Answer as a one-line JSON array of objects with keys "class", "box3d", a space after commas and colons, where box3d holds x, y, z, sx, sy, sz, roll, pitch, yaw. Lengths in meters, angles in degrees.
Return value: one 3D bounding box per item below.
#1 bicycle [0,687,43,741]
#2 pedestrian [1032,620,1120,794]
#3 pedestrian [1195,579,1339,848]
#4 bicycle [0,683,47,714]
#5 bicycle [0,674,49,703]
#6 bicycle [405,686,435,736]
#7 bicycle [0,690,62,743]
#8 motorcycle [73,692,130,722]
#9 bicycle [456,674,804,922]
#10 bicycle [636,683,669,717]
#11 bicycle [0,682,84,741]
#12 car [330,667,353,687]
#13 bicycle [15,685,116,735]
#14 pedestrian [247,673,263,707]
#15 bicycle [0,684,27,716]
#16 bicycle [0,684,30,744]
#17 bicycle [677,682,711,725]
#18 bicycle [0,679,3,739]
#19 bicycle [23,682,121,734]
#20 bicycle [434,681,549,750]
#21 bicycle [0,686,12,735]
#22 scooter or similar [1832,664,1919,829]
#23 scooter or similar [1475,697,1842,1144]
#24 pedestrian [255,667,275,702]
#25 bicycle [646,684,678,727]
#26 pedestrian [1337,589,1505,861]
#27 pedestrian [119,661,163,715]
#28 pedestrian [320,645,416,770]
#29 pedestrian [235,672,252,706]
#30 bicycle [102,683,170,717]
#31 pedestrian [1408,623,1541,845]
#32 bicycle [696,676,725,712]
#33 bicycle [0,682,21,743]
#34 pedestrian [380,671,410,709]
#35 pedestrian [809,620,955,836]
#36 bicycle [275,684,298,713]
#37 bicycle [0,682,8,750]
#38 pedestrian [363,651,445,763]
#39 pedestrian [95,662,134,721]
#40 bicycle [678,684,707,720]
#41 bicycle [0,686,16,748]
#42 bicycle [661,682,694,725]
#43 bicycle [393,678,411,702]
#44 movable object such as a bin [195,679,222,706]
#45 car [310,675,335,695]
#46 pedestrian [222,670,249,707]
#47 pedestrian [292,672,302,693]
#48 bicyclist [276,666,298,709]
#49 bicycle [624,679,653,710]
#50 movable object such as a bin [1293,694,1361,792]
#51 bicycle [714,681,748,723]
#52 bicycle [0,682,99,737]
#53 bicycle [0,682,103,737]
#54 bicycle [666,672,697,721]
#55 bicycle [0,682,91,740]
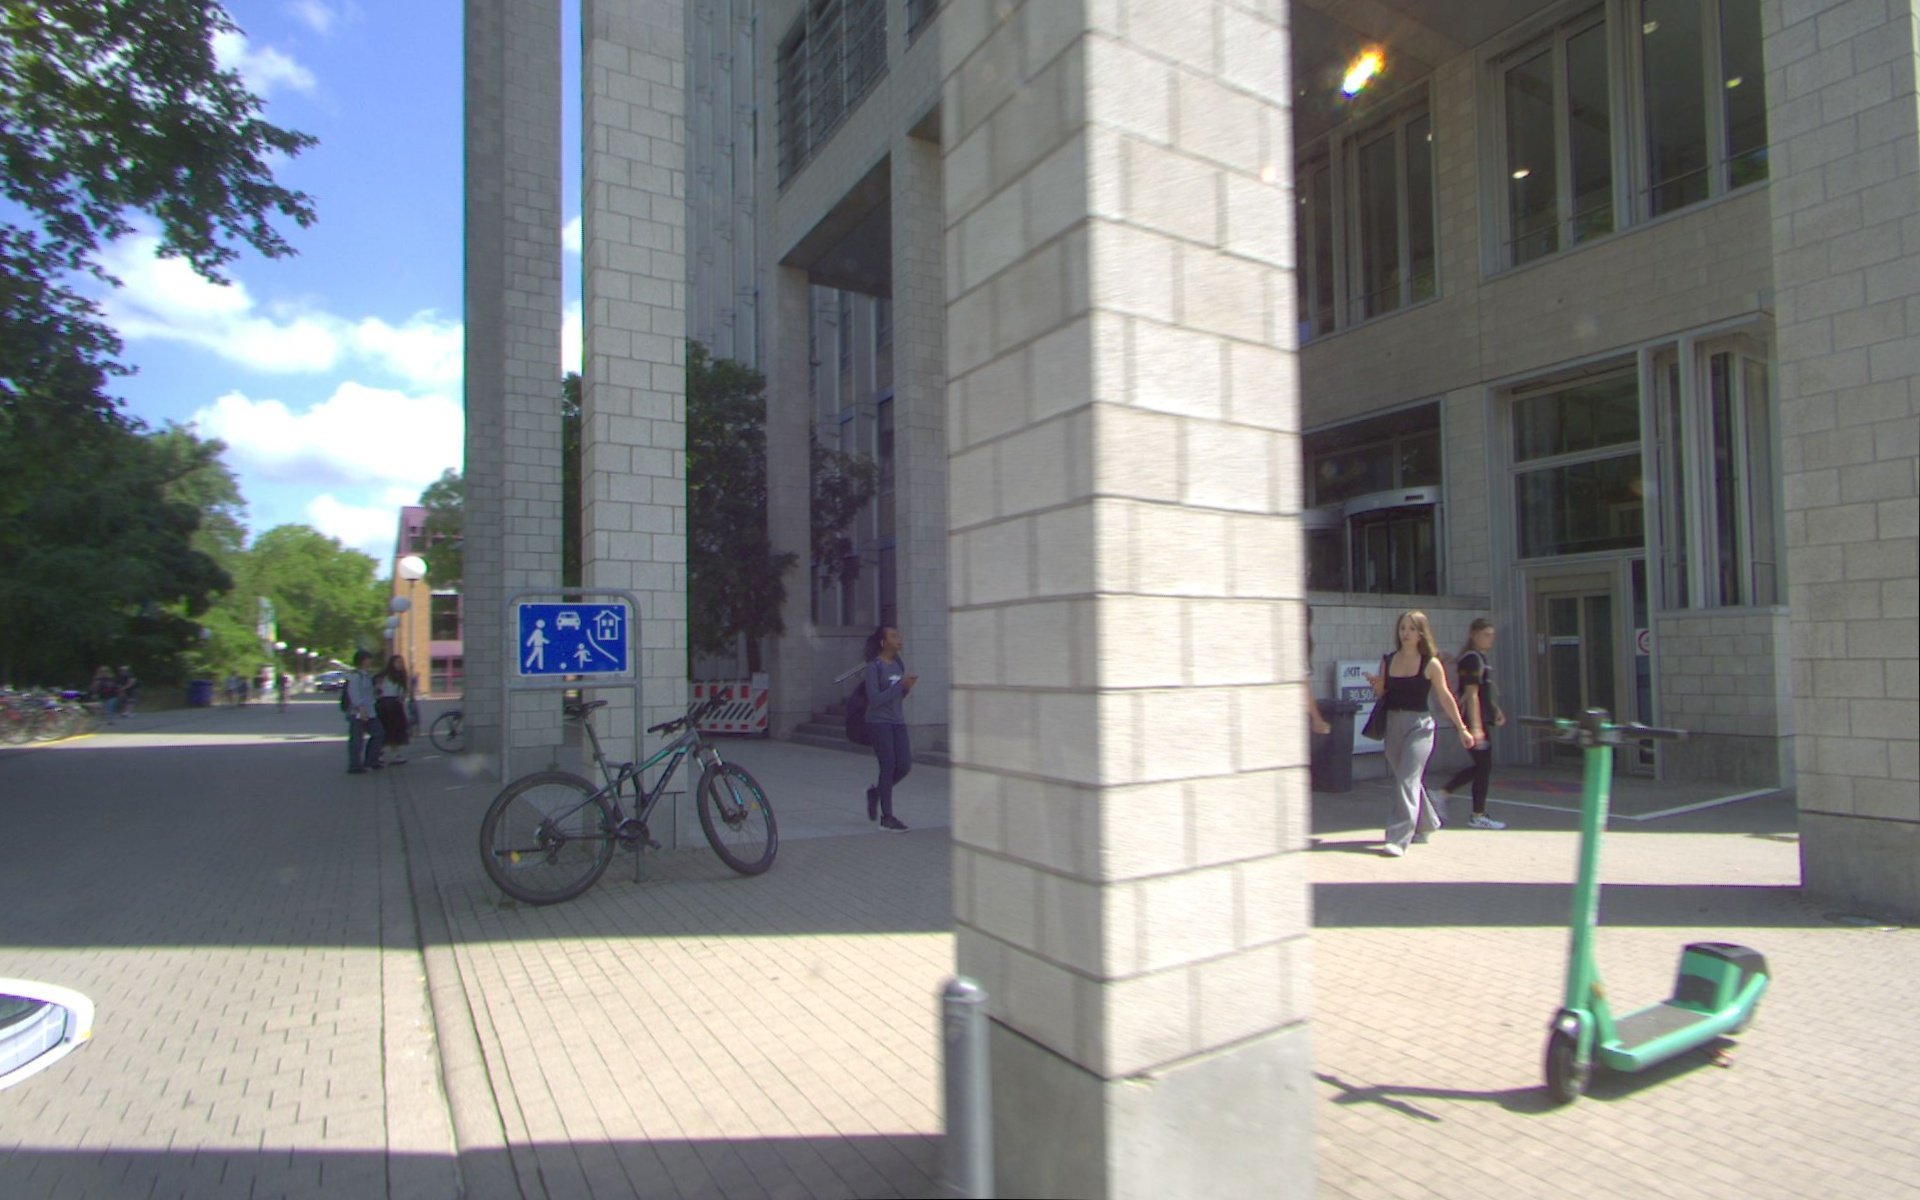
[{"class": "bicycle", "box3d": [-19.519, 2.287, 20.013, 0.466, 1.074, 1.696, -2, -4, 24]}, {"class": "pedestrian", "box3d": [1.234, 1.098, 10.577, 0.634, 1.746, 0.863, -2, -2, 27]}, {"class": "pedestrian", "box3d": [2.132, 0.775, 7.015, 0.845, 1.745, 0.779, -3, -3, 16]}, {"class": "bicycle", "box3d": [-32.828, 3.446, 35.059, 1.669, 1.059, 0.474, 0, -4, 19]}, {"class": "bicycle", "box3d": [-35.097, 3.313, 37.541, 0.465, 1.059, 1.701, 2, -5, -9]}, {"class": "bicycle", "box3d": [-12.294, 2.503, 22.770, 0.531, 1.052, 1.850, 0, -3, -31]}, {"class": "bicycle", "box3d": [-19.026, 2.313, 19.898, 0.466, 1.031, 1.696, -2, -4, 24]}, {"class": "motorcycle", "box3d": [-32.359, 4.008, 37.737, 1.988, 1.060, 0.474, 0, -3, 12]}, {"class": "bicycle", "box3d": [-1.924, 1.087, 5.992, 1.862, 1.179, 0.601, -1, -1, -36]}, {"class": "bicycle", "box3d": [-8.911, 2.877, 28.962, 0.288, 0.916, 1.792, 1, -4, -38]}, {"class": "bicycle", "box3d": [-19.561, 2.324, 21.026, 0.469, 1.182, 1.686, -3, -5, 42]}, {"class": "car", "box3d": [-64.854, 8.071, 104.996, 1.863, 1.998, 5.191, 1, -4, -30]}, {"class": "bicycle", "box3d": [-20.961, 2.573, 23.503, 1.679, 1.104, 0.471, 2, -4, -37]}, {"class": "pedestrian", "box3d": [-34.793, 4.434, 49.400, 0.563, 1.630, 0.913, 2, -4, -33]}, {"class": "bicycle", "box3d": [-32.923, 3.436, 34.439, 1.670, 1.059, 0.474, -2, -3, 19]}, {"class": "bicycle", "box3d": [-18.591, 2.151, 18.699, 0.467, 1.121, 1.692, -2, -4, 32]}, {"class": "bicycle", "box3d": [-6.094, 2.352, 22.905, 0.288, 0.916, 1.440, 1, -3, -34]}, {"class": "bicycle", "box3d": [-17.055, 1.923, 16.562, 1.681, 1.213, 0.533, 3, -4, -39]}, {"class": "bicycle", "box3d": [-21.175, 2.566, 23.919, 1.681, 1.173, 0.470, 3, -4, -40]}, {"class": "bicycle", "box3d": [-7.947, 1.936, 17.015, 1.722, 1.052, 0.446, 1, -2, -36]}, {"class": "bicycle", "box3d": [-21.747, 2.461, 22.248, 0.501, 1.096, 1.694, 1, -4, -27]}, {"class": "scooter or similar", "box3d": [7.744, 1.168, 8.323, 0.353, 1.239, 1.424, -2, -2, 26]}, {"class": "scooter or similar", "box3d": [2.245, 0.922, 3.210, 1.141, 1.165, 0.443, 0, -2, -26]}, {"class": "pedestrian", "box3d": [-38.081, 4.632, 54.903, 0.673, 1.866, 0.782, 1, -4, -20]}, {"class": "bicycle", "box3d": [-6.750, 2.365, 22.678, 0.288, 0.916, 1.440, 1, -3, -34]}, {"class": "pedestrian", "box3d": [3.099, 0.805, 6.734, 0.873, 1.675, 0.697, 3, -4, -38]}, {"class": "pedestrian", "box3d": [-28.678, 3.071, 35.073, 0.602, 1.857, 1.051, -1, -3, 6]}, {"class": "pedestrian", "box3d": [-8.276, 1.499, 14.025, 0.882, 1.690, 0.676, -1, -4, 7]}, {"class": "pedestrian", "box3d": [-40.245, 4.985, 56.258, 0.676, 1.895, 1.114, 2, -5, -35]}, {"class": "bicycle", "box3d": [-28.774, 3.483, 35.004, 0.466, 1.123, 1.842, -2, -4, 21]}, {"class": "pedestrian", "box3d": [3.999, 1.002, 7.787, 0.816, 1.619, 0.586, -2, -2, 35]}, {"class": "bicycle", "box3d": [-6.712, 2.509, 26.946, 0.288, 0.916, 1.440, 1, -3, -34]}, {"class": "bicycle", "box3d": [-18.979, 2.148, 18.945, 0.467, 1.171, 1.692, -2, -4, 32]}, {"class": "pedestrian", "box3d": [-29.073, 4.624, 51.558, 0.876, 1.880, 1.027, -2, -4, 34]}, {"class": "pedestrian", "box3d": [-0.633, 0.991, 8.029, 0.812, 1.593, 0.873, 3, -5, -42]}, {"class": "bicycle", "box3d": [-28.303, 4.118, 42.090, 0.763, 1.164, 2.097, 0, -4, -33]}, {"class": "bicycle", "box3d": [-17.953, 2.059, 17.622, 1.682, 1.202, 0.470, 3, -5, -42]}, {"class": "pedestrian", "box3d": [-8.407, 1.600, 15.152, 0.727, 1.637, 0.807, -2, -2, 16]}, {"class": "pedestrian", "box3d": [-24.951, 2.687, 29.573, 0.760, 1.701, 0.902, 1, -2, -34]}, {"class": "bicycle", "box3d": [-7.139, 2.701, 26.682, 0.288, 0.916, 1.440, 1, -3, -34]}, {"class": "bicycle", "box3d": [-18.225, 2.130, 18.069, 1.682, 1.121, 0.577, 3, -5, -42]}, {"class": "bicycle", "box3d": [-6.460, 2.349, 22.843, 0.288, 0.916, 1.440, 1, -3, -34]}, {"class": "bicycle", "box3d": [-27.316, 4.398, 49.005, 0.701, 1.106, 1.740, 1, -4, -31]}, {"class": "movable object such as a bin", "box3d": [-38.776, 4.745, 51.674, 0.700, 1.352, 1.237, 3, -4, -20]}, {"class": "car", "box3d": [-59.187, 7.870, 93.070, 1.771, 1.783, 4.461, 1, -4, -30]}, {"class": "pedestrian", "box3d": [-37.695, 4.594, 52.096, 1.103, 1.867, 0.781, -2, -4, 35]}, {"class": "pedestrian", "box3d": [-59.737, 7.454, 90.193, 0.675, 1.866, 0.780, 2, -4, -30]}, {"class": "bicyclist", "box3d": [-28.309, 3.674, 42.113, 0.764, 1.736, 0.906, 0, -4, -33]}, {"class": "bicycle", "box3d": [-9.915, 2.894, 30.840, 0.288, 0.916, 1.607, 1, -3, -38]}, {"class": "movable object such as a bin", "box3d": [3.763, 1.448, 10.276, 0.546, 0.950, 0.370, -3, -3, 40]}, {"class": "bicycle", "box3d": [-5.354, 2.361, 23.342, 0.288, 0.916, 1.440, 1, -3, -34]}, {"class": "bicycle", "box3d": [-20.213, 2.404, 22.086, 1.750, 1.182, 0.473, 1, -3, -18]}, {"class": "bicycle", "box3d": [-20.659, 2.480, 22.804, 1.679, 1.182, 0.471, 2, -4, -37]}, {"class": "bicycle", "box3d": [-6.752, 2.317, 24.249, 0.288, 1.142, 1.440, 1, -3, -34]}, {"class": "bicycle", "box3d": [-19.808, 2.374, 21.505, 1.683, 1.182, 0.470, 3, -5, -43]}]
